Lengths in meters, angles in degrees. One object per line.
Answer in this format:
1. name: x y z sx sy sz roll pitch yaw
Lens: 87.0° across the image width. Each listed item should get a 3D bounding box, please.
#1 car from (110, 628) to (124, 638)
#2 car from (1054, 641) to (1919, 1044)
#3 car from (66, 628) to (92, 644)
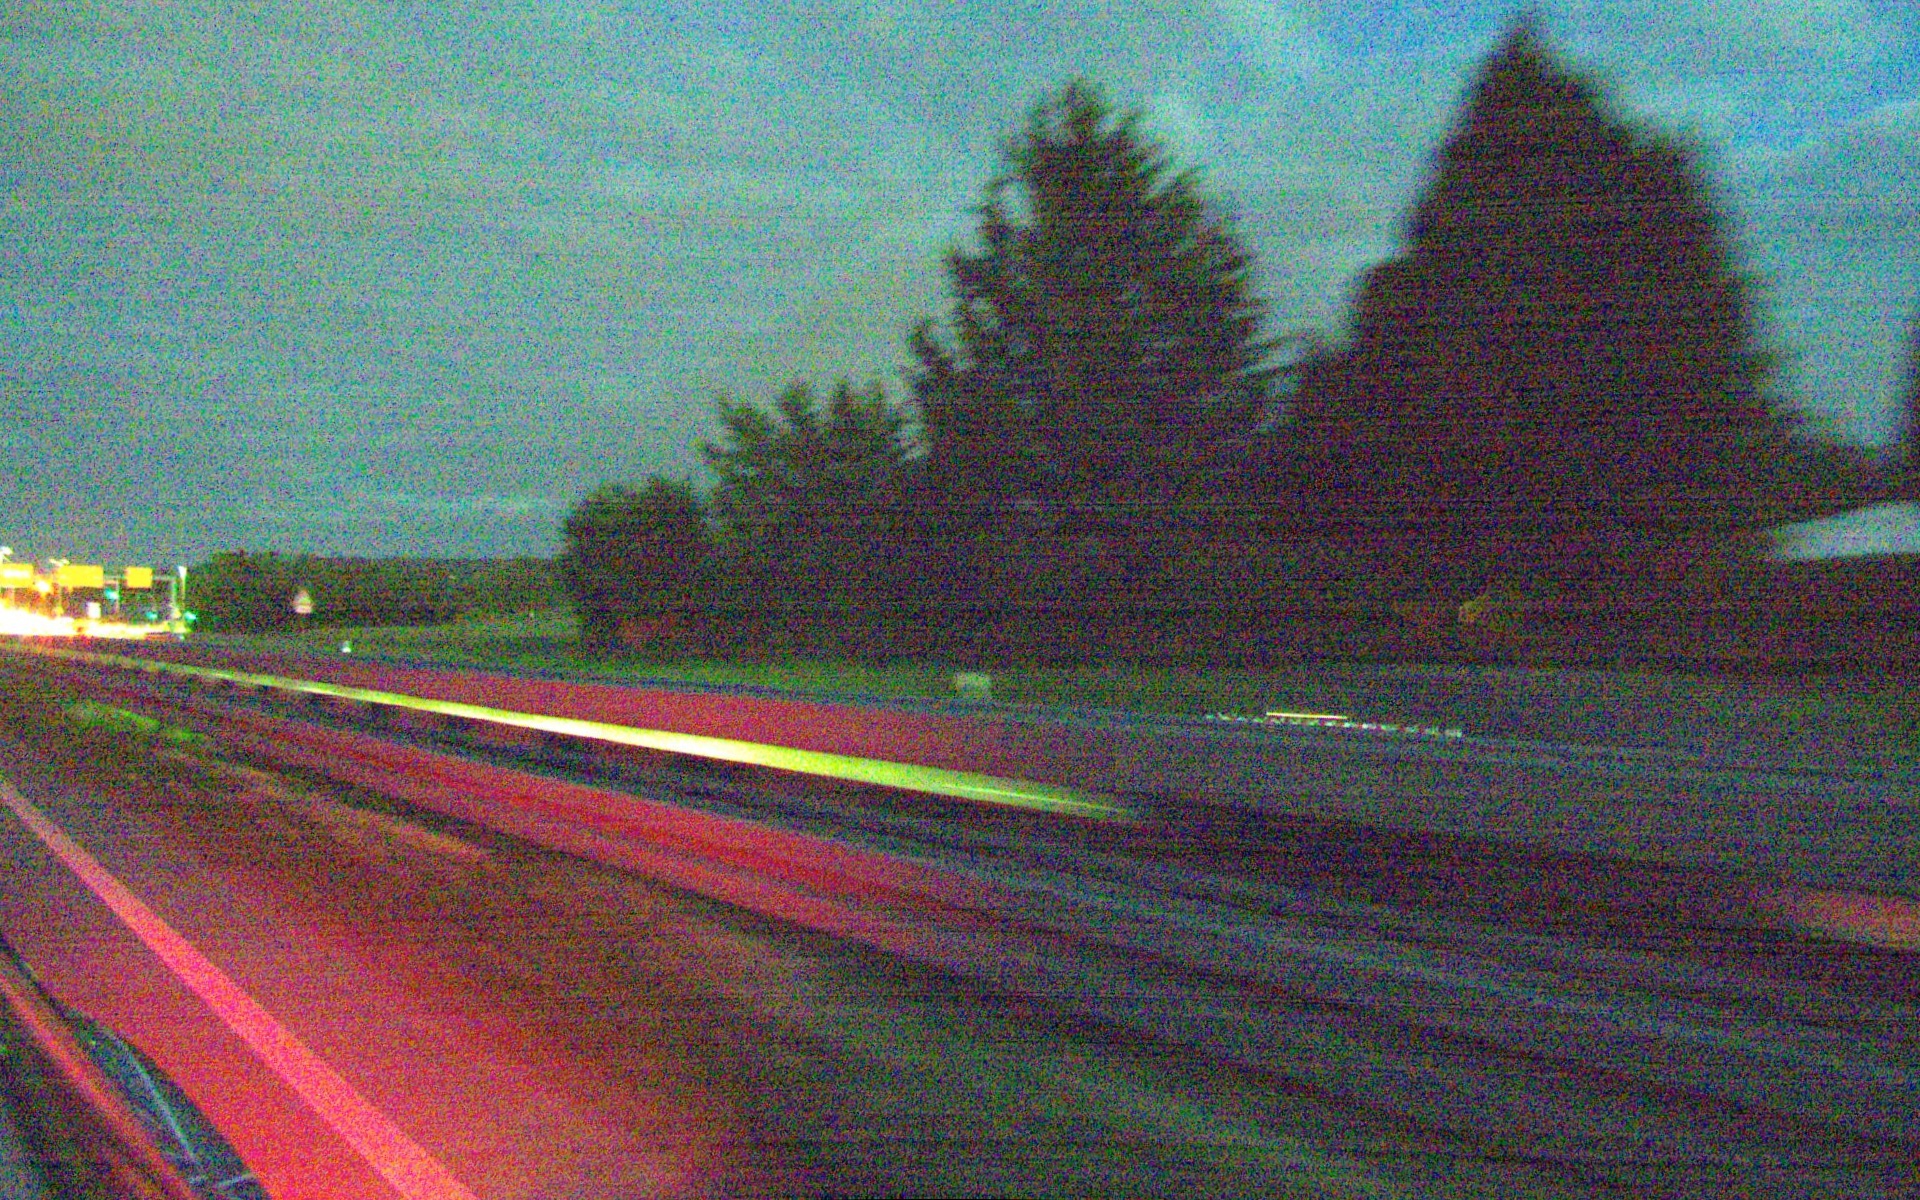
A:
1. car: -125.733 4.909 150.935 1.632 1.487 4.007 0 0 -39
2. car: 2.890 1.013 5.729 4.572 1.418 1.702 -1 0 41
3. car: -85.922 3.471 98.738 1.698 1.458 4.390 0 0 -38
